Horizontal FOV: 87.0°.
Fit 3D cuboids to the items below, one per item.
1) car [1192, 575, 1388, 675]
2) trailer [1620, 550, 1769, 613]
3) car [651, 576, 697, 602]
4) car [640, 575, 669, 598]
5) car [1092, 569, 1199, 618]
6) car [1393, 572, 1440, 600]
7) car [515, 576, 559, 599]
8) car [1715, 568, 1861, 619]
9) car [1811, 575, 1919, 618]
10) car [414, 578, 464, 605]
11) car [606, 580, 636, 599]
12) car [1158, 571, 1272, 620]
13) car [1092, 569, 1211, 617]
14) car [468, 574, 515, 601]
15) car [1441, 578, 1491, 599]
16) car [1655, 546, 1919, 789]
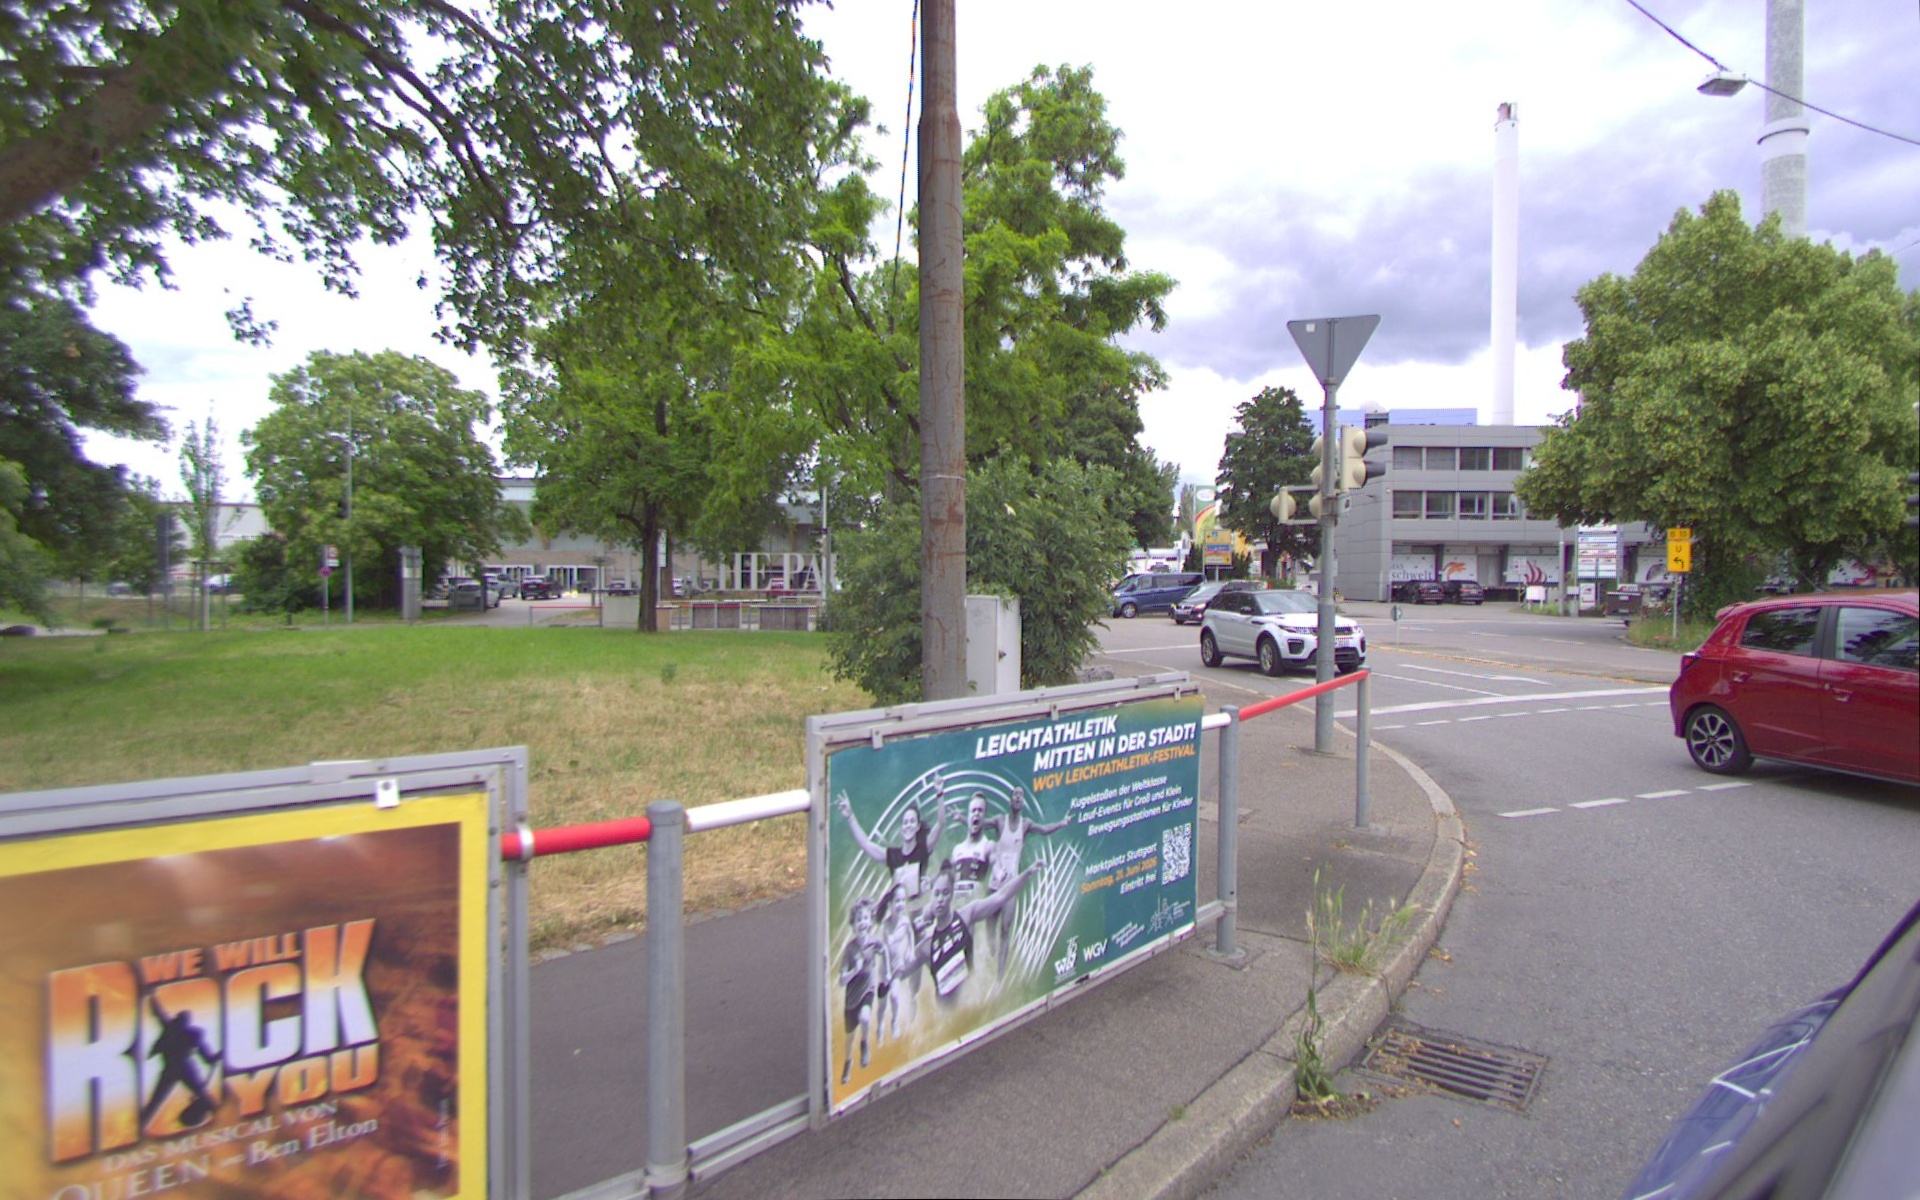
[{"bbox_3d":[6.420,0.392,20.251,1.878,1.588,4.122,-4,3,-11],"label":"car"},{"bbox_3d":[29.953,-0.778,41.320,5.275,2.417,2.156,-1,1,-17],"label":"trailer"},{"bbox_3d":[-19.719,-0.809,69.918,1.901,1.448,5.258,-4,3,-3],"label":"car"},{"bbox_3d":[-25.841,-1.164,85.789,1.718,1.704,3.578,-4,3,-8],"label":"car"},{"bbox_3d":[8.078,-0.314,44.262,4.151,2.038,2.004,-1,2,-9],"label":"car"},{"bbox_3d":[31.537,-1.003,69.980,1.746,1.698,3.571,-4,3,3],"label":"car"},{"bbox_3d":[-28.658,-0.848,68.637,1.877,1.527,4.007,0,1,-9],"label":"car"},{"bbox_3d":[35.206,-0.308,43.027,5.747,2.003,1.956,-1,3,-18],"label":"car"},{"bbox_3d":[45.424,-0.205,50.603,4.666,1.682,2.005,-5,3,-15],"label":"car"},{"bbox_3d":[-35.166,-0.598,68.422,1.877,1.721,4.007,0,1,-9],"label":"car"},{"bbox_3d":[-28.400,-0.875,84.889,1.718,1.331,3.578,-4,3,-8],"label":"car"},{"bbox_3d":[9.830,-0.152,38.962,4.145,1.794,1.835,1,0,-30],"label":"car"},{"bbox_3d":[8.344,-0.312,44.230,4.704,1.969,1.836,-1,1,-9],"label":"car"},{"bbox_3d":[-31.766,-0.868,68.673,1.877,1.721,4.007,0,1,-9],"label":"car"},{"bbox_3d":[34.977,-0.814,70.035,1.746,1.192,3.571,-4,3,3],"label":"car"},{"bbox_3d":[7.052,0.415,6.950,1.733,1.548,3.746,-2,2,-5],"label":"car"}]
